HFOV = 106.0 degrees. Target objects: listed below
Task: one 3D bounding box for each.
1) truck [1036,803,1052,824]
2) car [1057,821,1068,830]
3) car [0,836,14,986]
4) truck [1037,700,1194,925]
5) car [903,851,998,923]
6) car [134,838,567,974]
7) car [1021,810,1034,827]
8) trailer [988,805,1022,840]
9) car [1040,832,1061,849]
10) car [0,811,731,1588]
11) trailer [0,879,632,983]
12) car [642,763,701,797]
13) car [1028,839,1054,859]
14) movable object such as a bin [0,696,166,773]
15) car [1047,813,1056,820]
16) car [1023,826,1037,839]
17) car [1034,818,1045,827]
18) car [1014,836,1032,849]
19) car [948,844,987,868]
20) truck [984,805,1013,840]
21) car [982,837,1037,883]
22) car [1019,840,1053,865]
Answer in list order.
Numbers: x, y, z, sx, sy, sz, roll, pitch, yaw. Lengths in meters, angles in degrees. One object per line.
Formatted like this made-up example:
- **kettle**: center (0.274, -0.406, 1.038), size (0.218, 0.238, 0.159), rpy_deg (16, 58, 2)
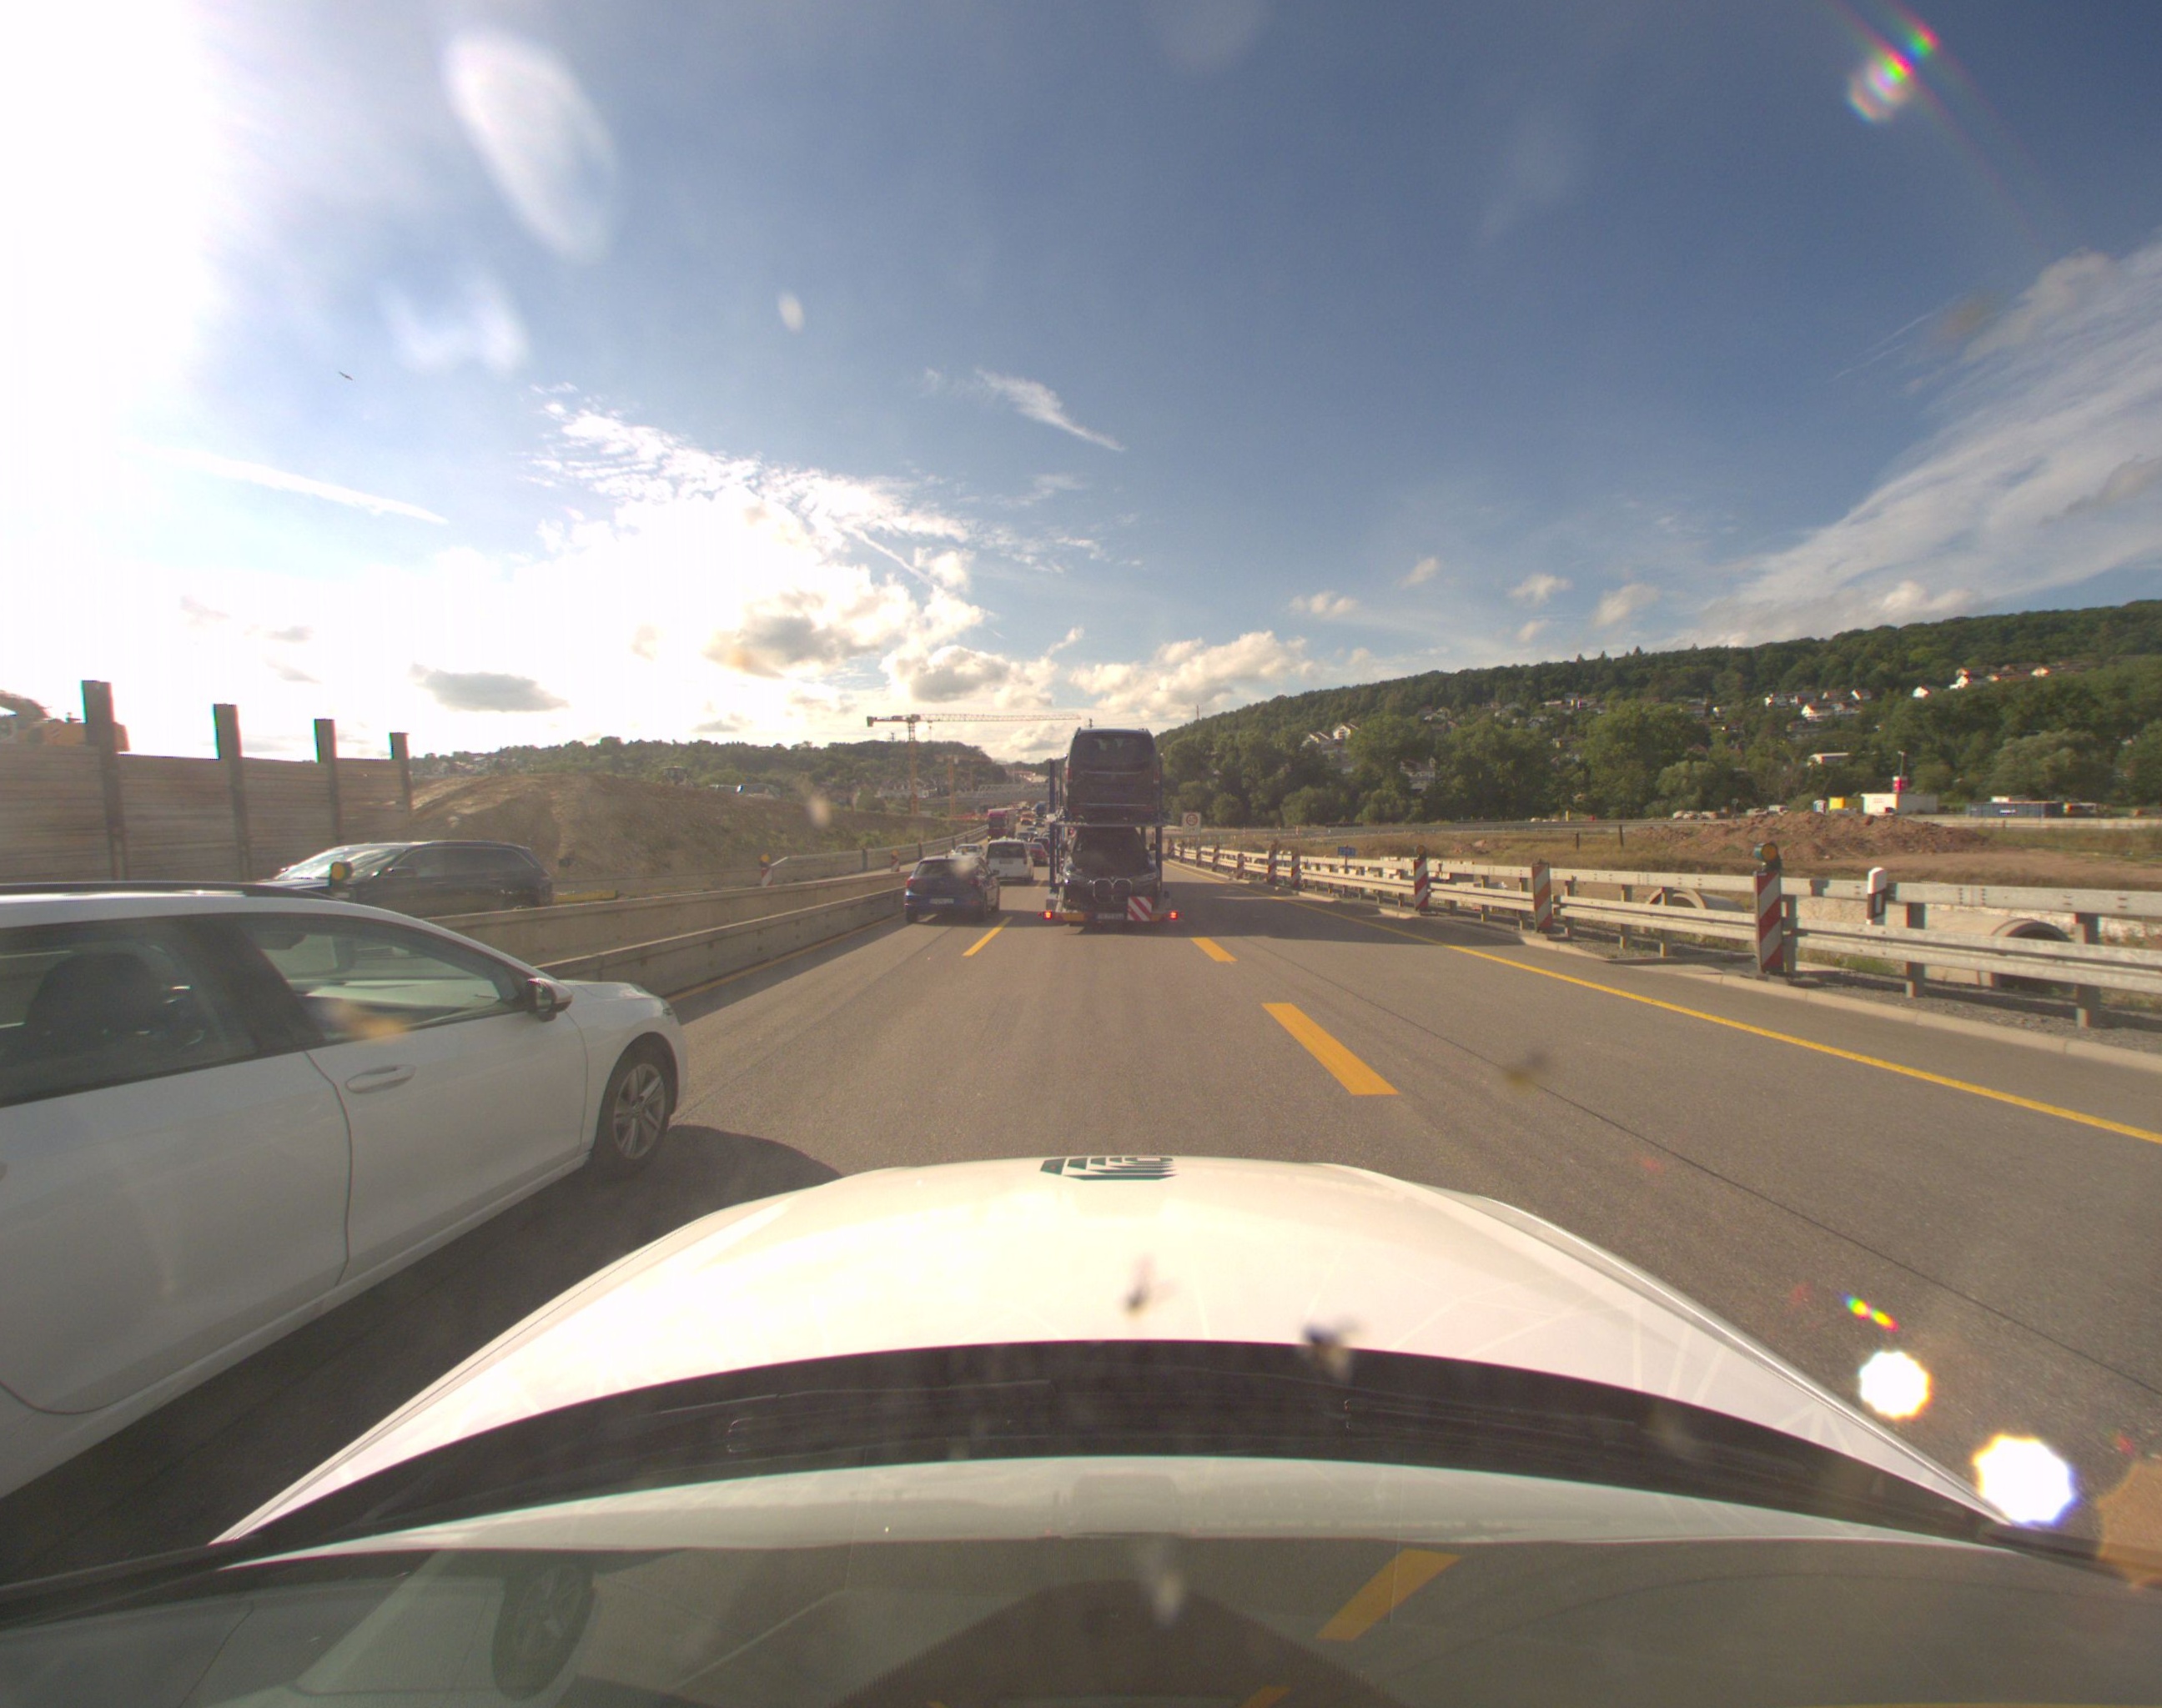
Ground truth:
- **truck**: center (-9.857, -10.628, 217.719), size (2.810, 4.788, 13.065), rpy_deg (0, -1, 3)
- **car**: center (-3.445, -5.236, 151.111), size (1.840, 1.648, 4.501), rpy_deg (0, 1, -2)
- **car**: center (-14.381, 0.669, 7.887), size (1.981, 1.804, 4.456), rpy_deg (0, -1, 10)
- **truck**: center (0.572, -0.698, 23.948), size (2.745, 3.954, 18.883), rpy_deg (1, 0, 0)
- **car**: center (-2.890, 0.672, 18.791), size (1.718, 1.422, 3.996), rpy_deg (0, 1, -3)
- **car**: center (-10.398, 0.609, 12.252), size (1.842, 1.635, 4.759), rpy_deg (0, 1, 8)
- **car**: center (-10.556, -6.933, 160.216), size (1.986, 2.880, 6.064), rpy_deg (0, -1, 1)
- **trailer**: center (-10.420, -4.219, 112.773), size (2.965, 4.422, 13.822), rpy_deg (1, 1, 2)
- **car**: center (-3.178, -1.412, 85.724), size (1.986, 1.666, 4.001), rpy_deg (0, 0, 1)
- **car**: center (-2.952, 0.705, 2.389), size (1.763, 1.491, 4.517), rpy_deg (-2, -1, 1)
- **trailer**: center (-13.148, 1.108, 15.255), size (2.337, 0.939, 10.357), rpy_deg (0, 0, 10)
- **car**: center (-33.834, -6.091, 67.475), size (1.988, 2.140, 5.320), rpy_deg (-5, -1, 0)
- **car**: center (-3.328, -0.404, 68.226), size (1.987, 1.552, 3.999), rpy_deg (0, -1, 0)
- **movable object such as a bin**: center (-54.819, -6.362, 44.207), size (5.708, 3.270, 4.525), rpy_deg (0, -1, 12)
- **car**: center (-7.084, -9.097, 197.554), size (1.987, 1.684, 3.999), rpy_deg (0, -1, 0)
- **car**: center (-7.180, -3.033, 115.582), size (1.839, 1.648, 4.501), rpy_deg (0, 1, -2)
- **car**: center (-7.586, -5.790, 149.296), size (1.840, 1.648, 4.232), rpy_deg (0, 0, -3)
- **car**: center (-6.859, -1.340, 96.219), size (1.815, 1.440, 4.613), rpy_deg (0, 1, 0)
- **car**: center (-7.020, 0.079, 50.771), size (1.847, 1.440, 4.557), rpy_deg (0, 1, -1)
- **truck**: center (-10.621, -4.022, 105.589), size (2.903, 4.386, 6.290), rpy_deg (1, 1, 2)
- **car**: center (-2.907, 0.263, 33.758), size (1.816, 1.792, 4.001), rpy_deg (0, -1, 1)
- **car**: center (-2.850, -0.085, 52.479), size (1.987, 1.556, 4.399), rpy_deg (0, -1, -1)
